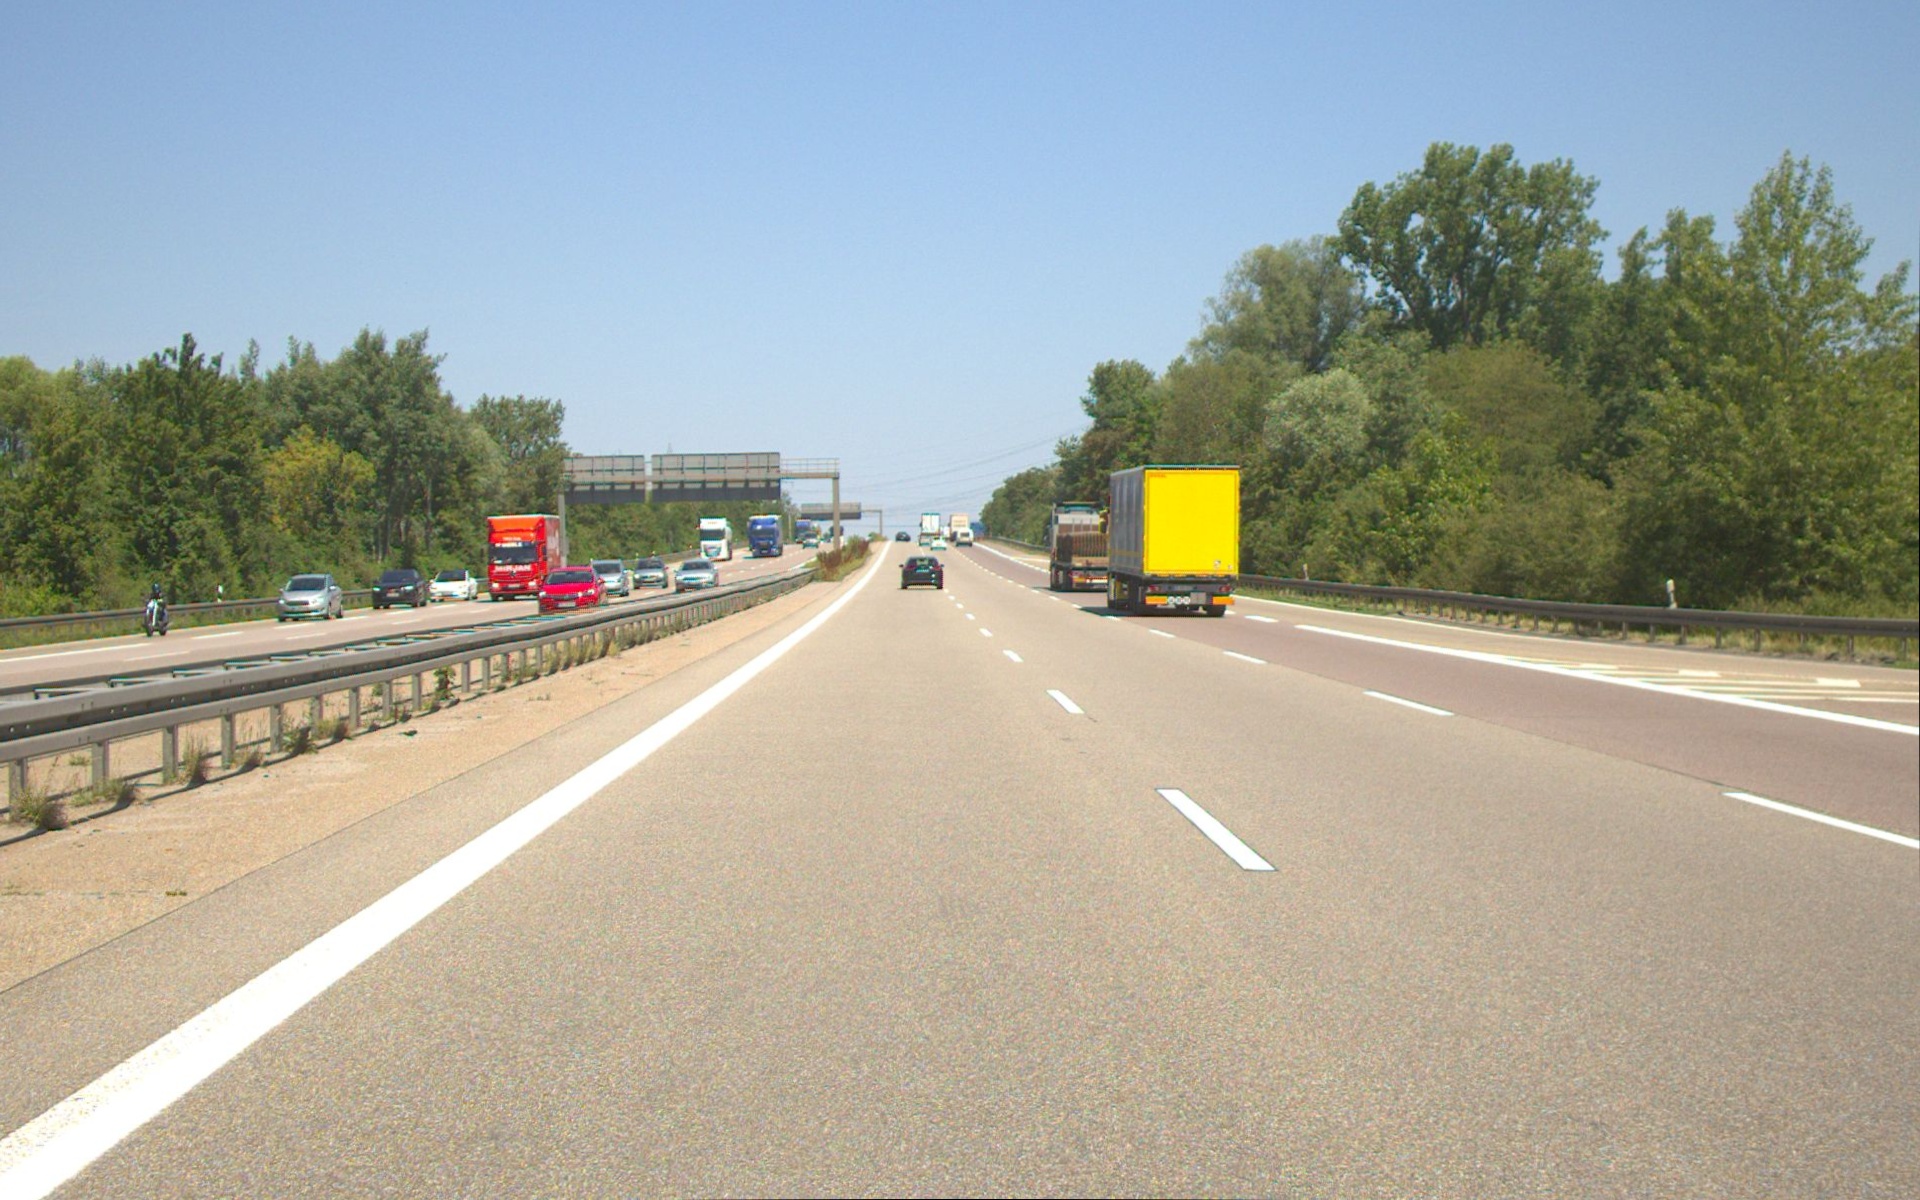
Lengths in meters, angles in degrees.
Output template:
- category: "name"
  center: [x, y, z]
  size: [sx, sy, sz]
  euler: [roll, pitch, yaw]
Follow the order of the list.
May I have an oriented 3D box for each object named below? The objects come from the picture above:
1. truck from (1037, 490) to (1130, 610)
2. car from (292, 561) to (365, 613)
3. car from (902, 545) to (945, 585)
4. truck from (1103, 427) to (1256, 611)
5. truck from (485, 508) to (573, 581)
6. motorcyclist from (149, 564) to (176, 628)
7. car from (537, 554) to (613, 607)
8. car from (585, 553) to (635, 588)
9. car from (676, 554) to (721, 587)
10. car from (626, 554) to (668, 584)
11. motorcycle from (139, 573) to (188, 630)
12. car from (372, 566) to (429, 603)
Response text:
- category: "truck"
  center: [5.229, -2.152, 148.375]
  size: [3.367, 4.864, 15.086]
  euler: [1, 1, 0]
- category: "car"
  center: [-22.102, -0.476, 120.421]
  size: [1.808, 1.766, 4.000]
  euler: [-1, 1, -1]
- category: "car"
  center: [-1.592, -1.540, 150.071]
  size: [1.827, 1.700, 4.000]
  euler: [1, 1, -1]
- category: "truck"
  center: [6.137, -2.241, 98.967]
  size: [3.377, 4.864, 15.086]
  euler: [1, 1, 0]
- category: "truck"
  center: [-19.549, -2.500, 156.513]
  size: [2.597, 3.201, 12.125]
  euler: [1, 1, -1]
- category: "motorcyclist"
  center: [-23.456, -0.114, 101.126]
  size: [0.603, 1.865, 0.620]
  euler: [1, 0, 4]
- category: "car"
  center: [-11.286, -0.576, 100.941]
  size: [1.808, 1.498, 4.000]
  euler: [-1, 1, -1]
- category: "car"
  center: [-15.319, -1.295, 150.580]
  size: [1.808, 1.498, 4.000]
  euler: [-1, 1, -1]
- category: "car"
  center: [-12.109, -1.360, 159.248]
  size: [1.808, 1.498, 4.000]
  euler: [-1, 1, -1]
- category: "car"
  center: [-16.190, -1.613, 178.013]
  size: [1.808, 1.498, 4.000]
  euler: [-1, 1, -1]
- category: "motorcycle"
  center: [-23.444, 0.025, 101.241]
  size: [0.615, 1.634, 2.836]
  euler: [1, 1, 3]
- category: "car"
  center: [-23.560, -0.681, 144.876]
  size: [1.808, 1.498, 4.000]
  euler: [-1, 1, -1]
